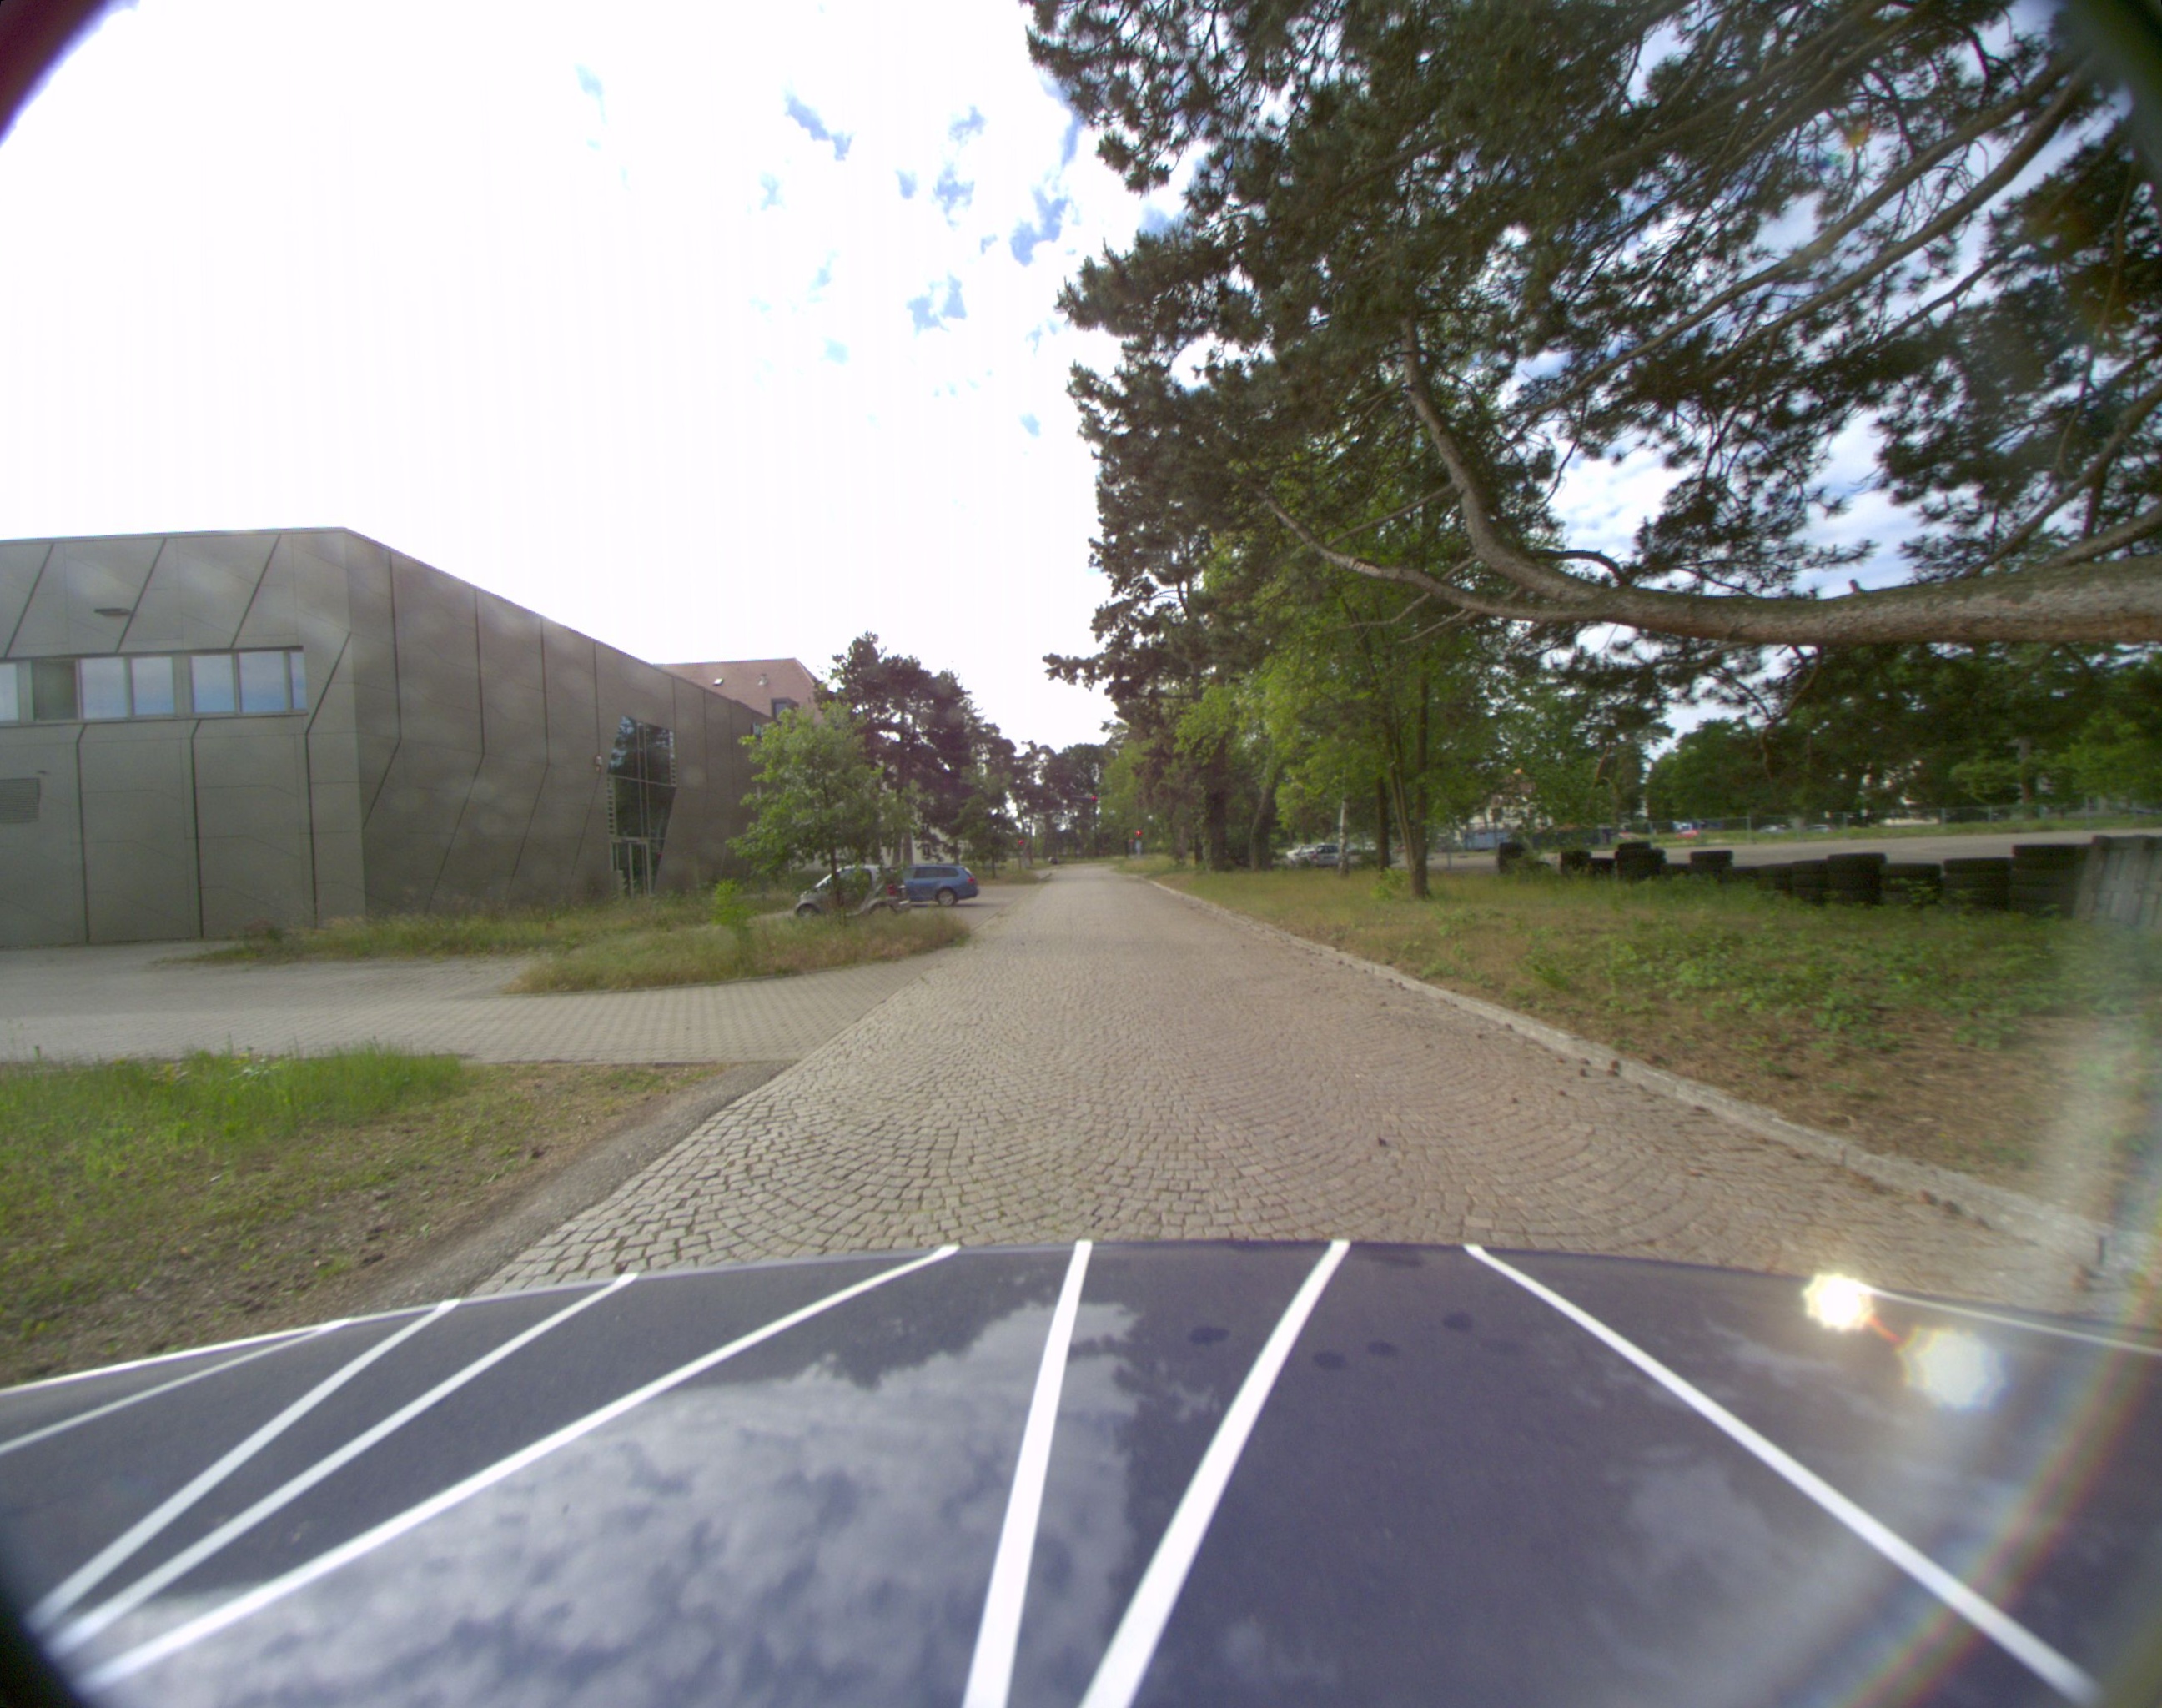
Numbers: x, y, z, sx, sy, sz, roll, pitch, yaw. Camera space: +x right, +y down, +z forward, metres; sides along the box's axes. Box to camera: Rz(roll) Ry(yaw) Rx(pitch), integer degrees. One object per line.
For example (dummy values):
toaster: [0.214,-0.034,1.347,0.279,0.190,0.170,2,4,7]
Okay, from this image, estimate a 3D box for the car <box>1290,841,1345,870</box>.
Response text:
car: [12.712,0.055,41.041,1.670,1.402,3.722,-3,0,-2]

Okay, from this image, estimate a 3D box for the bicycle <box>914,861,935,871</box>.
bicycle: [-17.490,1.363,85.058,2.164,1.051,0.717,-3,1,-3]

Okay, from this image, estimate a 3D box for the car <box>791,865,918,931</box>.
car: [-5.735,1.084,19.488,2.748,1.573,1.682,0,0,0]

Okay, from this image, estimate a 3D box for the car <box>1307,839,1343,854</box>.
car: [25.345,-0.804,79.073,1.999,1.441,4.451,-3,0,-3]

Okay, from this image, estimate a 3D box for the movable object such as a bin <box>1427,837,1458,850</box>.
movable object such as a bin: [31.809,-0.953,66.891,1.057,1.065,2.719,-3,0,-8]

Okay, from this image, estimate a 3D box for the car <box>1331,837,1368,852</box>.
car: [27.924,-0.942,79.169,1.999,1.441,4.451,-3,0,-3]

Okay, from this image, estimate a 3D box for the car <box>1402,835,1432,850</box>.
car: [39.657,-1.375,89.828,1.611,1.674,3.803,-3,0,-5]

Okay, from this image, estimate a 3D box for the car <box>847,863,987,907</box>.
car: [-5.692,1.069,26.807,4.537,1.441,1.931,0,0,-2]

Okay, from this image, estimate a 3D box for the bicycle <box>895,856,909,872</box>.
bicycle: [-20.405,1.151,86.471,0.905,1.722,2.199,-3,1,3]

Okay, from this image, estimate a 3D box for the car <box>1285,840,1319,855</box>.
car: [22.841,-0.664,78.596,1.999,1.441,4.451,-3,0,-3]

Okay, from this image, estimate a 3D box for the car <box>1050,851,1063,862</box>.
car: [-4.654,0.456,142.314,1.999,1.777,3.998,-3,1,-6]
